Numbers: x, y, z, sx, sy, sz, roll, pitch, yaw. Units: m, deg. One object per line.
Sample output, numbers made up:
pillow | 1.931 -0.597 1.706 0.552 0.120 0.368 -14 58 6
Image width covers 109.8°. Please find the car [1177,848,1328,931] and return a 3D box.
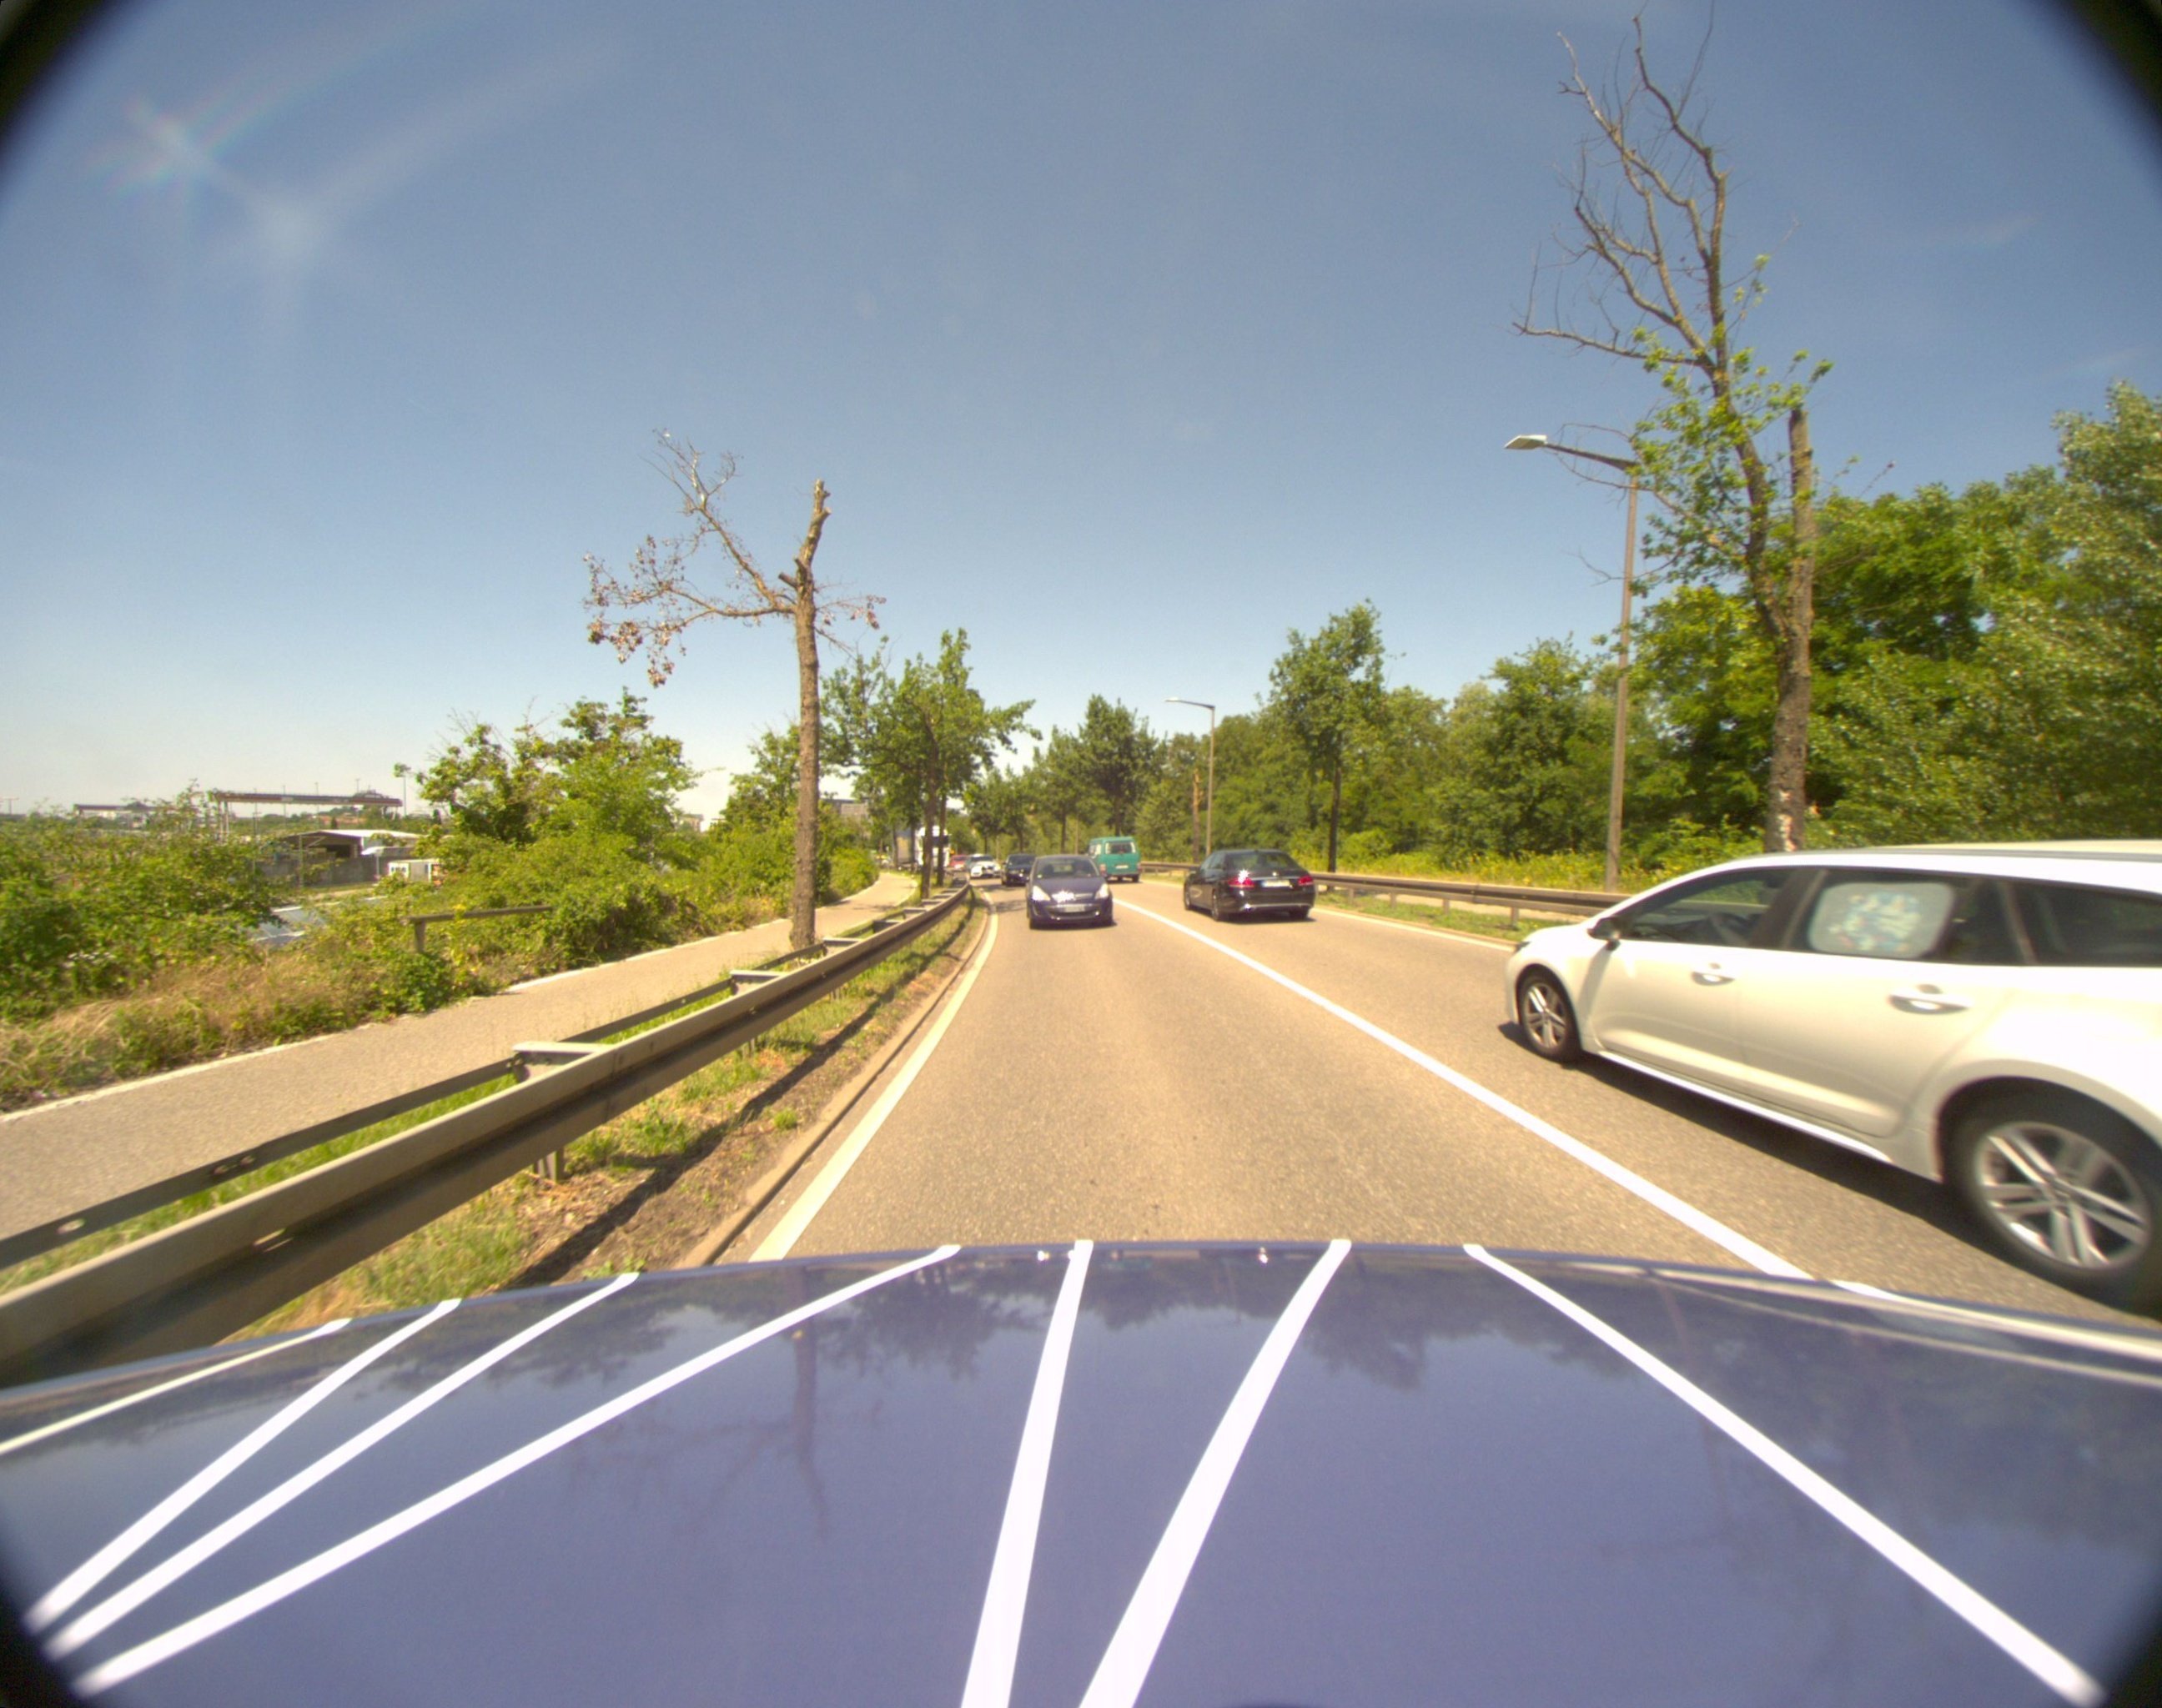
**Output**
car | 3.479 0.635 16.432 1.851 1.459 4.738 -2 1 -4

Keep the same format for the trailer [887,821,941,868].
trailer | -16.959 -0.898 76.227 2.885 4.190 13.981 -2 1 -22

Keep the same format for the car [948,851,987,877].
car | -8.377 0.722 55.866 1.903 1.645 4.249 -2 2 -20

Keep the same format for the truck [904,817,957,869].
truck | -13.533 -0.926 67.787 2.862 4.244 8.799 -2 1 -22

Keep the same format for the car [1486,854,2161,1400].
car | 3.912 0.782 3.516 1.705 1.438 4.459 -2 1 1

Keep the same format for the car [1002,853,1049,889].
car | -2.507 0.682 33.404 1.570 1.408 4.118 -2 1 -10

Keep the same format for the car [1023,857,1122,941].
car | -0.319 0.843 16.359 1.699 1.459 4.380 -2 1 -6

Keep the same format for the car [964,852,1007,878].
car | -5.601 0.611 44.205 1.819 1.420 3.709 -2 1 -17

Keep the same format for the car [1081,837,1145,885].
car | 1.326 0.282 33.707 1.836 1.927 4.771 -2 1 -10
